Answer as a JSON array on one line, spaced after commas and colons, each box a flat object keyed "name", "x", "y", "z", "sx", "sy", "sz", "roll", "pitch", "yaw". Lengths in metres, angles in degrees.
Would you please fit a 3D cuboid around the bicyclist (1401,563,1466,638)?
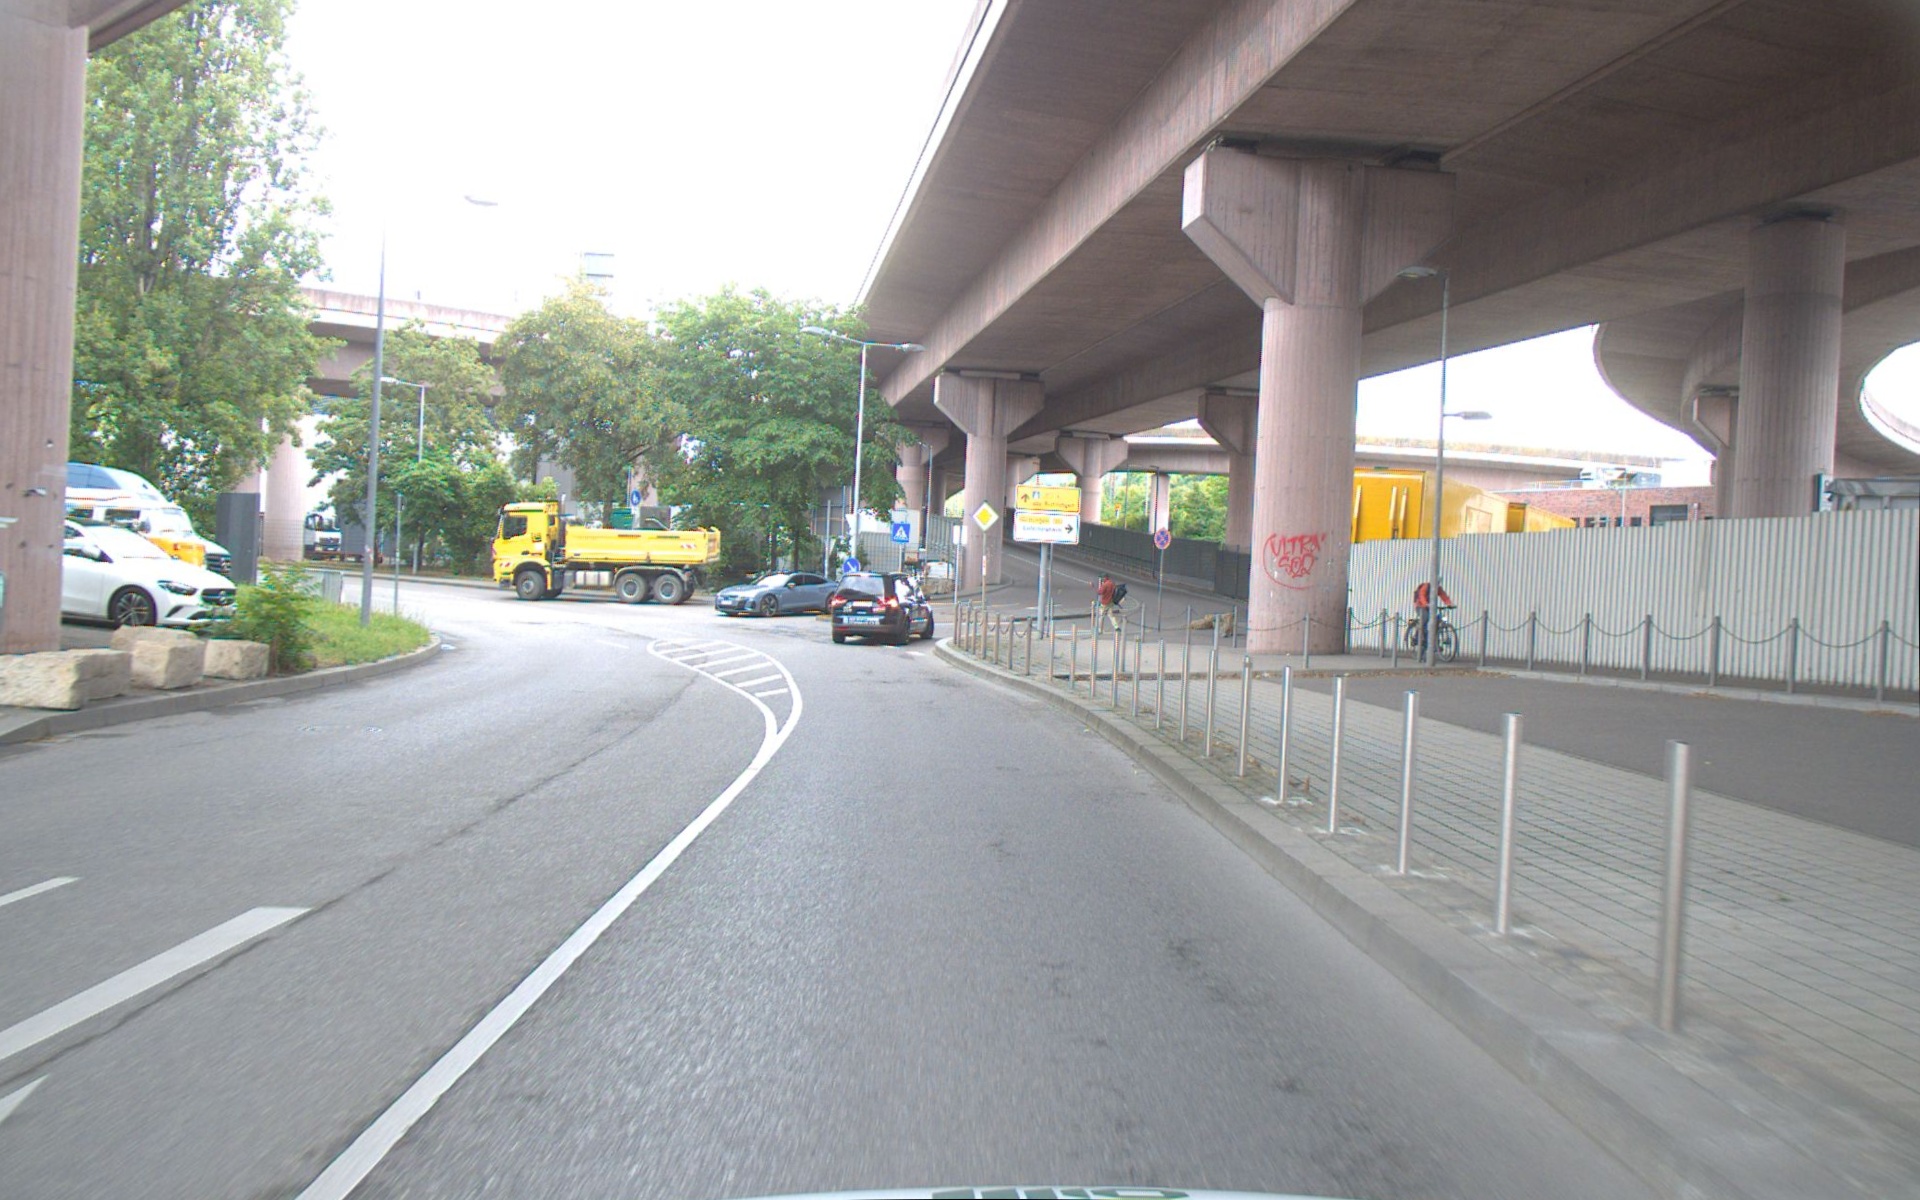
[{"name": "bicyclist", "x": 9.169, "y": -0.004, "z": 32.050, "sx": 0.782, "sy": 1.430, "sz": 1.063, "roll": 1, "pitch": 1, "yaw": -14}]

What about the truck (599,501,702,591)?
[{"name": "truck", "x": -15.105, "y": -2.617, "z": 80.218, "sx": 3.029, "sy": 4.032, "sz": 6.864, "roll": 2, "pitch": 1, "yaw": -27}]

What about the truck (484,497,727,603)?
[{"name": "truck", "x": -12.674, "y": -1.844, "z": 59.595, "sx": 8.049, "sy": 3.540, "sz": 2.938, "roll": 1, "pitch": 4, "yaw": 0}]

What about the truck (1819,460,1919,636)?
[{"name": "truck", "x": 18.801, "y": -0.973, "z": 31.648, "sx": 3.084, "sy": 2.995, "sz": 8.688, "roll": -1, "pitch": 1, "yaw": 35}]

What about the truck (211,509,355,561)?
[{"name": "truck", "x": -37.188, "y": -3.582, "z": 90.877, "sx": 7.055, "sy": 2.596, "sz": 2.727, "roll": 2, "pitch": 1, "yaw": 15}]

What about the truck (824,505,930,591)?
[{"name": "truck", "x": -4.664, "y": -2.931, "z": 90.983, "sx": 3.026, "sy": 4.373, "sz": 7.989, "roll": 1, "pitch": 3, "yaw": -24}]

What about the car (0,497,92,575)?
[{"name": "car", "x": -28.138, "y": -1.889, "z": 47.620, "sx": 4.990, "sy": 2.108, "sz": 2.257, "roll": 2, "pitch": -1, "yaw": -4}]

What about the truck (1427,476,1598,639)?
[{"name": "truck", "x": 18.624, "y": -1.306, "z": 55.352, "sx": 3.083, "sy": 4.988, "sz": 8.689, "roll": 3, "pitch": 1, "yaw": 34}]

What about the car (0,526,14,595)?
[{"name": "car", "x": -26.475, "y": -1.042, "z": 41.975, "sx": 3.927, "sy": 1.760, "sz": 1.989, "roll": 1, "pitch": 1, "yaw": -20}]

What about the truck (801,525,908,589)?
[{"name": "truck", "x": -5.417, "y": -2.232, "z": 83.590, "sx": 2.883, "sy": 2.948, "sz": 6.498, "roll": 1, "pitch": 3, "yaw": -29}]

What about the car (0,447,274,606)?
[{"name": "car", "x": -17.280, "y": -1.492, "z": 32.974, "sx": 6.053, "sy": 2.772, "sz": 2.367, "roll": 4, "pitch": 1, "yaw": -3}]

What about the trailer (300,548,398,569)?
[{"name": "trailer", "x": -31.549, "y": -2.155, "z": 85.308, "sx": 6.184, "sy": 0.756, "sz": 2.143, "roll": 4, "pitch": 5, "yaw": 42}]

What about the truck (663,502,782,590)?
[{"name": "truck", "x": -11.578, "y": -2.683, "z": 80.009, "sx": 3.032, "sy": 3.934, "sz": 7.974, "roll": 1, "pitch": 3, "yaw": -29}]

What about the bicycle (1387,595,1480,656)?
[{"name": "bicycle", "x": 9.161, "y": 0.480, "z": 32.070, "sx": 0.788, "sy": 1.116, "sz": 2.124, "roll": 1, "pitch": 1, "yaw": -13}]

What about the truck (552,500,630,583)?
[{"name": "truck", "x": -23.009, "y": -3.709, "z": 102.728, "sx": 3.161, "sy": 4.862, "sz": 7.991, "roll": 1, "pitch": 3, "yaw": -24}]

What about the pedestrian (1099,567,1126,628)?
[{"name": "pedestrian", "x": 4.290, "y": -0.067, "z": 46.586, "sx": 0.528, "sy": 1.705, "sz": 0.555, "roll": 0, "pitch": 2, "yaw": -20}]

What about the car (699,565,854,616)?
[{"name": "car", "x": -5.885, "y": -0.295, "z": 53.546, "sx": 2.133, "sy": 1.528, "sz": 4.906, "roll": 2, "pitch": 1, "yaw": 40}]

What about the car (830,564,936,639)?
[{"name": "car", "x": -1.837, "y": 0.003, "z": 40.958, "sx": 1.951, "sy": 1.708, "sz": 4.564, "roll": 1, "pitch": 1, "yaw": 5}]

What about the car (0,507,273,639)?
[{"name": "car", "x": -12.978, "y": -0.451, "z": 24.981, "sx": 4.289, "sy": 1.633, "sz": 1.956, "roll": 5, "pitch": 1, "yaw": 5}]

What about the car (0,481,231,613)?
[{"name": "car", "x": -16.075, "y": -0.995, "z": 30.334, "sx": 4.463, "sy": 2.147, "sz": 1.851, "roll": 4, "pitch": 1, "yaw": 0}]

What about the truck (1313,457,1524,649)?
[{"name": "truck", "x": 13.327, "y": -1.223, "z": 47.436, "sx": 3.083, "sy": 5.003, "sz": 8.689, "roll": 3, "pitch": 1, "yaw": 34}]

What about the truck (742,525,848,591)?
[{"name": "truck", "x": -8.266, "y": -2.129, "z": 82.054, "sx": 2.883, "sy": 2.948, "sz": 6.498, "roll": 1, "pitch": 3, "yaw": -29}]
